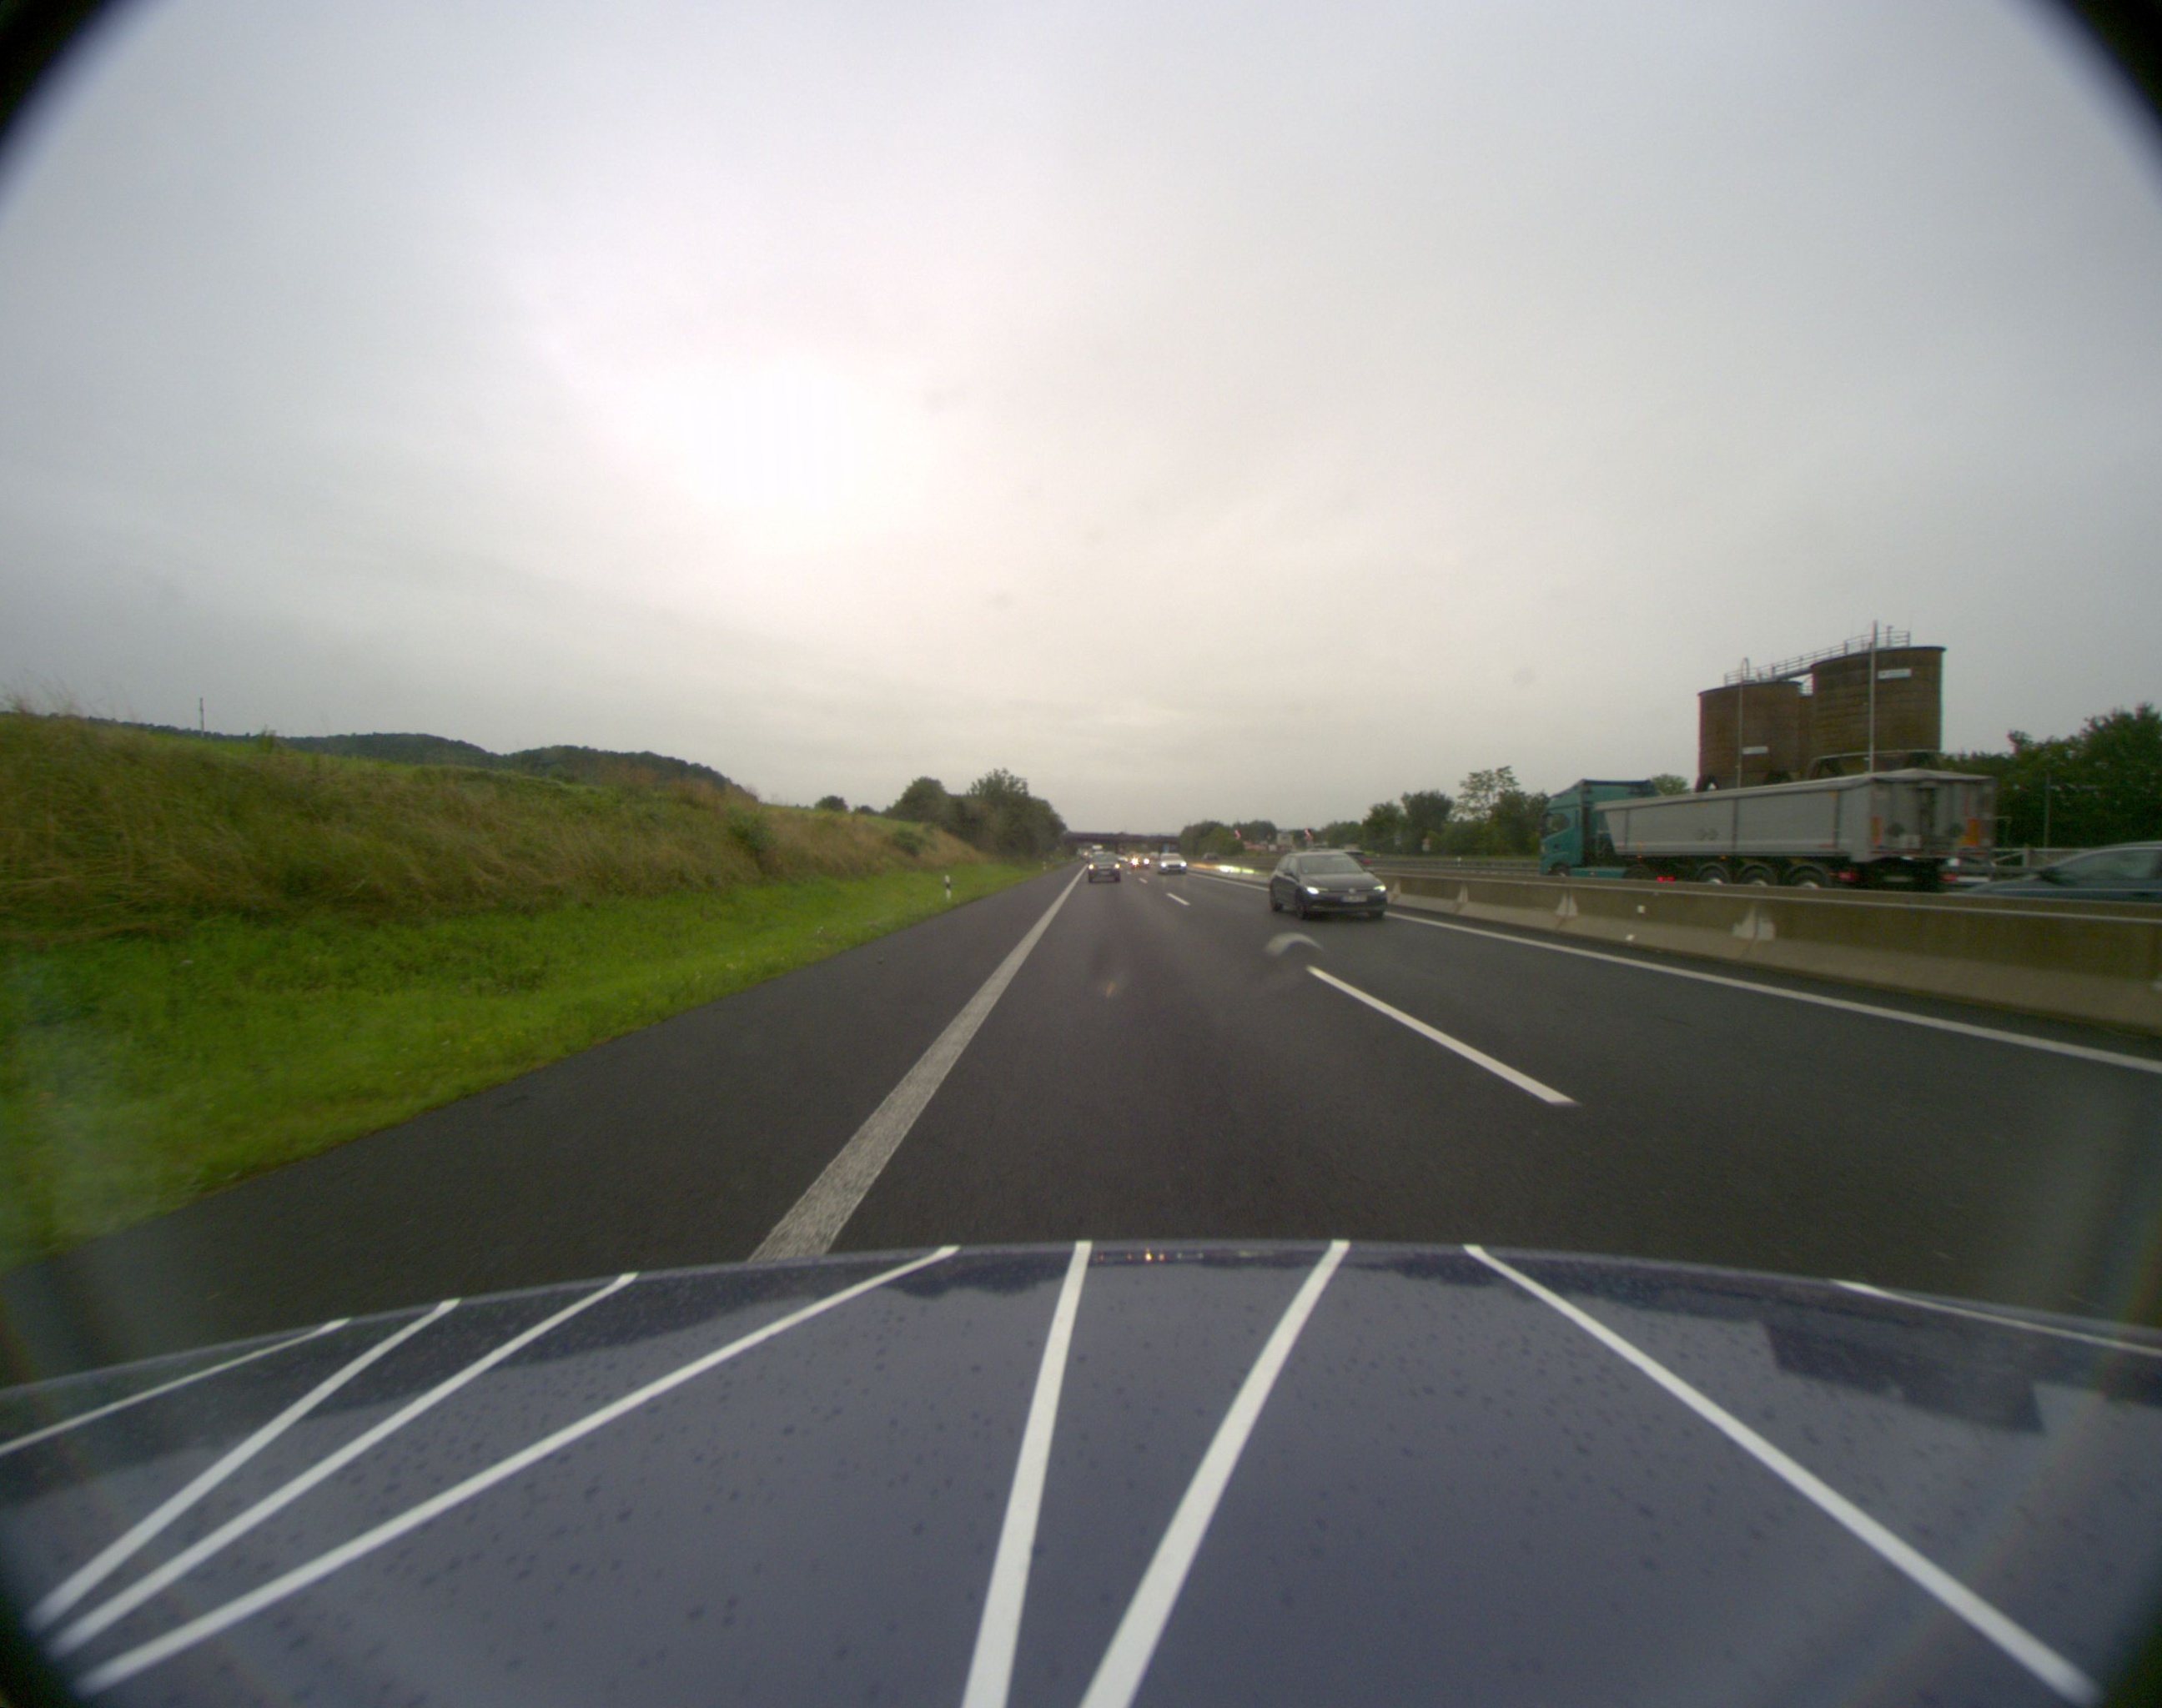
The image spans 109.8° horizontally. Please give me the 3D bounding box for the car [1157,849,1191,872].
[{"bbox_3d":[6.652,0.423,54.967,1.998,1.582,4.816,-1,0,2],"label":"car"}]

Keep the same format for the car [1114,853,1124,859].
[{"bbox_3d":[8.303,0.448,166.204,1.941,1.341,4.000,-3,0,1],"label":"car"}]

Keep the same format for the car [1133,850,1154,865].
[{"bbox_3d":[6.217,0.336,75.694,1.835,1.417,4.368,-3,0,2],"label":"car"}]

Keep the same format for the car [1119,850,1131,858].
[{"bbox_3d":[8.141,-0.057,141.083,1.942,1.341,4.000,-3,0,1],"label":"car"}]

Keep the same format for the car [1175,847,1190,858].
[{"bbox_3d":[16.791,-0.263,126.061,1.911,1.649,3.999,-1,0,-1],"label":"car"}]

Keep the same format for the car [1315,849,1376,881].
[{"bbox_3d":[13.995,0.559,40.446,1.785,1.622,3.999,0,0,-1],"label":"car"}]

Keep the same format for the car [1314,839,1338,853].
[{"bbox_3d":[37.049,-1.187,115.004,2.075,2.002,4.550,0,0,0],"label":"car"}]

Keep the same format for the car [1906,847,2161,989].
[{"bbox_3d":[13.179,0.723,9.357,1.717,1.587,4.000,-1,0,1],"label":"car"}]

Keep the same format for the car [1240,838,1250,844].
[{"bbox_3d":[38.711,-3.067,179.646,1.620,1.303,3.544,-2,1,3],"label":"car"}]

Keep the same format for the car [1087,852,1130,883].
[{"bbox_3d":[1.556,0.731,42.665,2.242,1.565,4.817,-2,0,3],"label":"car"}]

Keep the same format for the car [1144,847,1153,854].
[{"bbox_3d":[16.619,-0.874,187.398,1.911,1.649,3.999,-1,0,-1],"label":"car"}]

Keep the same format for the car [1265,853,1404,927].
[{"bbox_3d":[5.641,0.731,17.509,1.835,1.417,4.368,-2,0,2],"label":"car"}]

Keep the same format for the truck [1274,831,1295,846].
[{"bbox_3d":[44.130,-3.333,165.185,3.252,3.197,7.607,-2,0,7],"label":"truck"}]

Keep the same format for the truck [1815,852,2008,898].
[{"bbox_3d":[33.857,0.788,31.284,1.999,1.636,5.405,-3,0,-1],"label":"truck"}]

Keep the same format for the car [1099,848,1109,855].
[{"bbox_3d":[4.598,-0.441,150.583,1.941,1.341,4.000,-3,0,1],"label":"car"}]

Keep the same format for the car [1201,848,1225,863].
[{"bbox_3d":[15.237,0.139,88.164,1.999,1.649,3.999,-1,0,-1],"label":"car"}]

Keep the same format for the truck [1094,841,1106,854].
[{"bbox_3d":[4.880,-1.552,196.664,2.728,3.098,7.960,-3,0,1],"label":"truck"}]

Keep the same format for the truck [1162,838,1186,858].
[{"bbox_3d":[21.551,-1.344,177.139,3.786,4.451,12.891,-1,0,-1],"label":"truck"}]

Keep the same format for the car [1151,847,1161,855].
[{"bbox_3d":[17.016,-0.741,172.126,1.911,1.649,3.999,-1,0,-1],"label":"car"}]

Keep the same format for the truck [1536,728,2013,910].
[{"bbox_3d":[18.061,-0.783,21.825,2.976,3.689,11.909,-2,1,1],"label":"truck"}]
